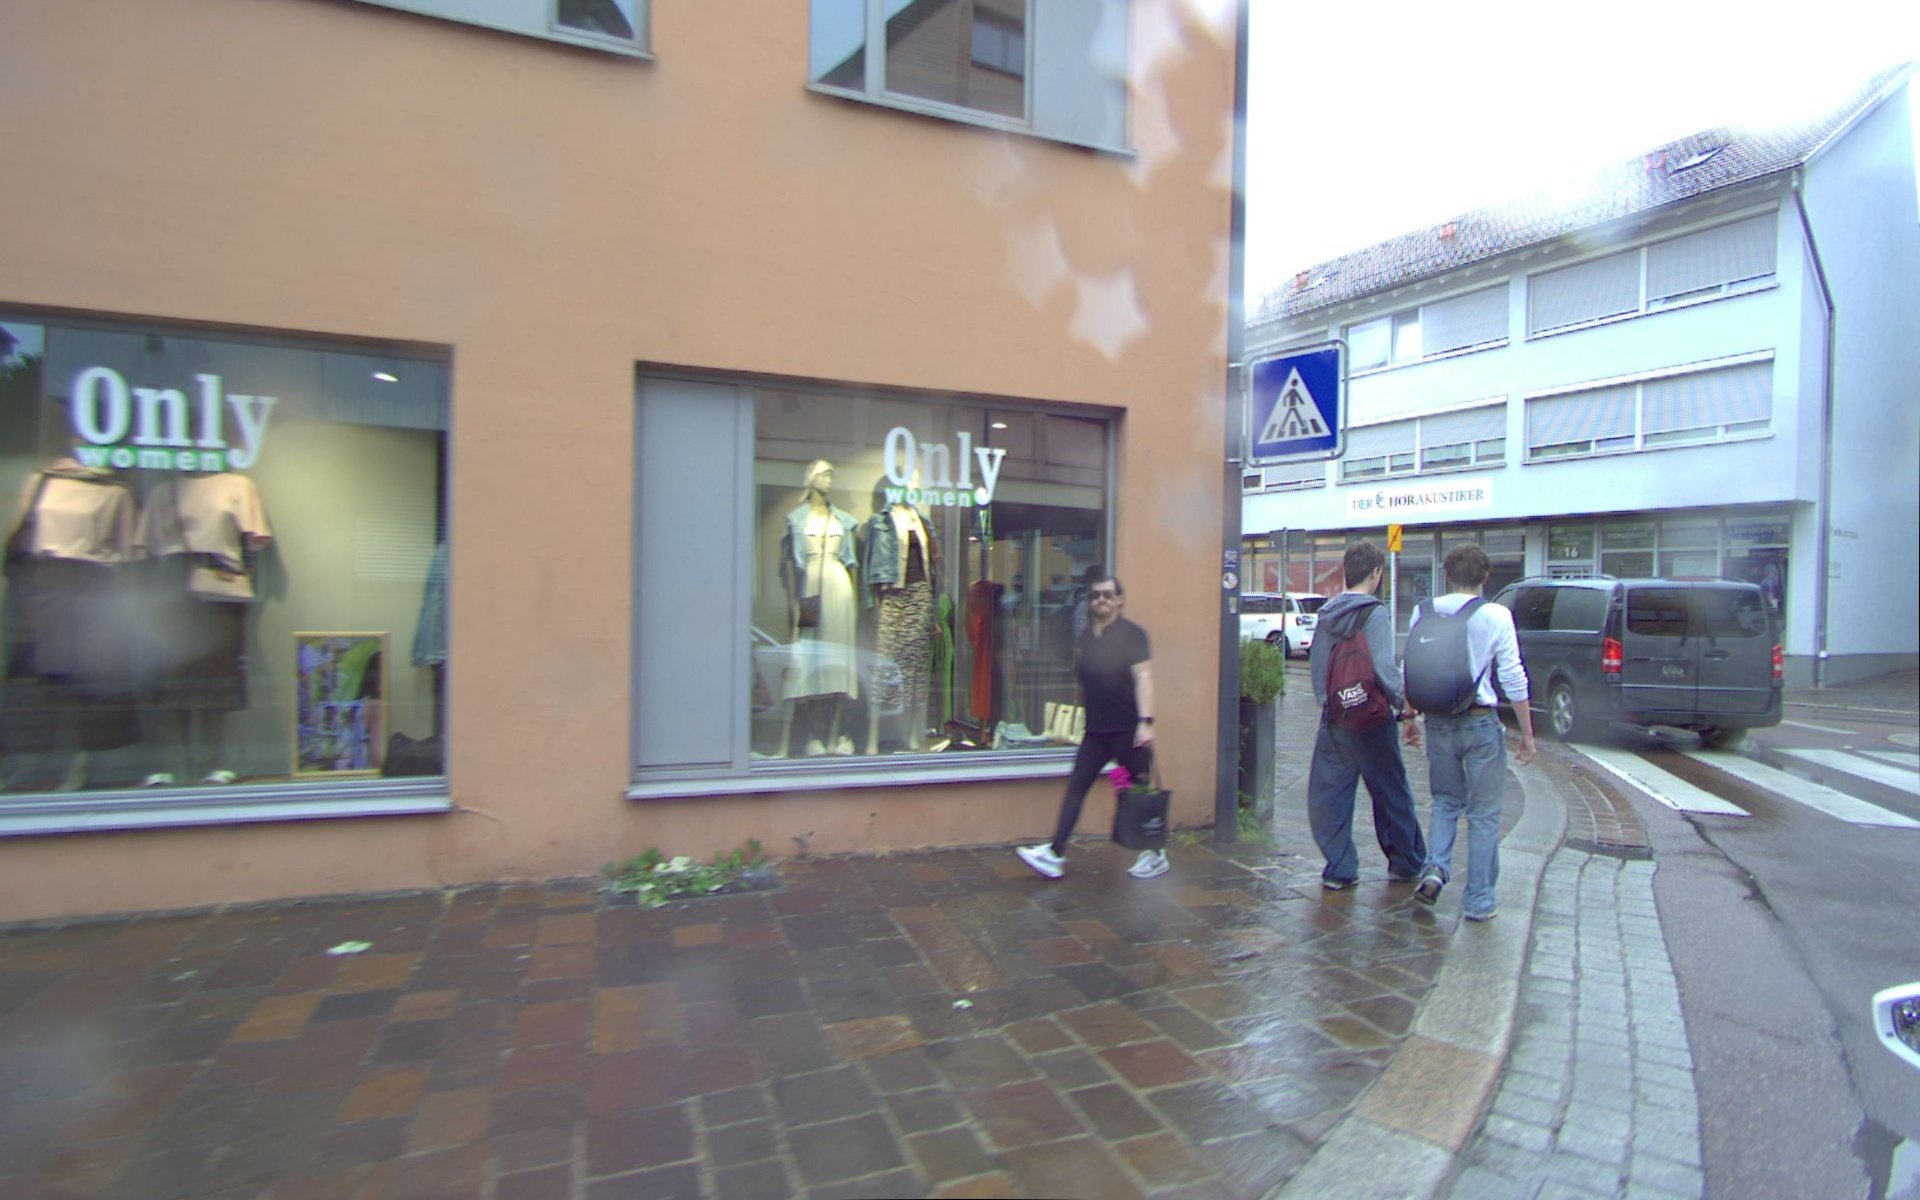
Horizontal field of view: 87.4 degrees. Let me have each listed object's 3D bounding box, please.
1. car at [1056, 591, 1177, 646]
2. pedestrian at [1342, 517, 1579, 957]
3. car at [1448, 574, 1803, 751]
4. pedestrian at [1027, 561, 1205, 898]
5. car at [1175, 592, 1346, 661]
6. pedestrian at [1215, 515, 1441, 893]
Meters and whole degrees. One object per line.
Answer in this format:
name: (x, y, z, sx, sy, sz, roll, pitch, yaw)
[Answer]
car: (4.792, 0.516, 31.206, 1.664, 1.549, 3.764, -1, 1, -33)
pedestrian: (2.396, 0.579, 4.786, 1.053, 1.831, 0.657, 1, 0, -42)
car: (8.030, 0.615, 12.787, 1.913, 1.805, 4.729, 0, 1, 8)
pedestrian: (0.804, 0.630, 5.290, 0.674, 1.631, 0.658, 1, 0, -21)
car: (7.857, 0.619, 26.595, 1.676, 1.634, 4.183, 0, 1, -36)
pedestrian: (2.004, 0.513, 5.450, 1.049, 1.824, 0.687, 1, 0, -38)
